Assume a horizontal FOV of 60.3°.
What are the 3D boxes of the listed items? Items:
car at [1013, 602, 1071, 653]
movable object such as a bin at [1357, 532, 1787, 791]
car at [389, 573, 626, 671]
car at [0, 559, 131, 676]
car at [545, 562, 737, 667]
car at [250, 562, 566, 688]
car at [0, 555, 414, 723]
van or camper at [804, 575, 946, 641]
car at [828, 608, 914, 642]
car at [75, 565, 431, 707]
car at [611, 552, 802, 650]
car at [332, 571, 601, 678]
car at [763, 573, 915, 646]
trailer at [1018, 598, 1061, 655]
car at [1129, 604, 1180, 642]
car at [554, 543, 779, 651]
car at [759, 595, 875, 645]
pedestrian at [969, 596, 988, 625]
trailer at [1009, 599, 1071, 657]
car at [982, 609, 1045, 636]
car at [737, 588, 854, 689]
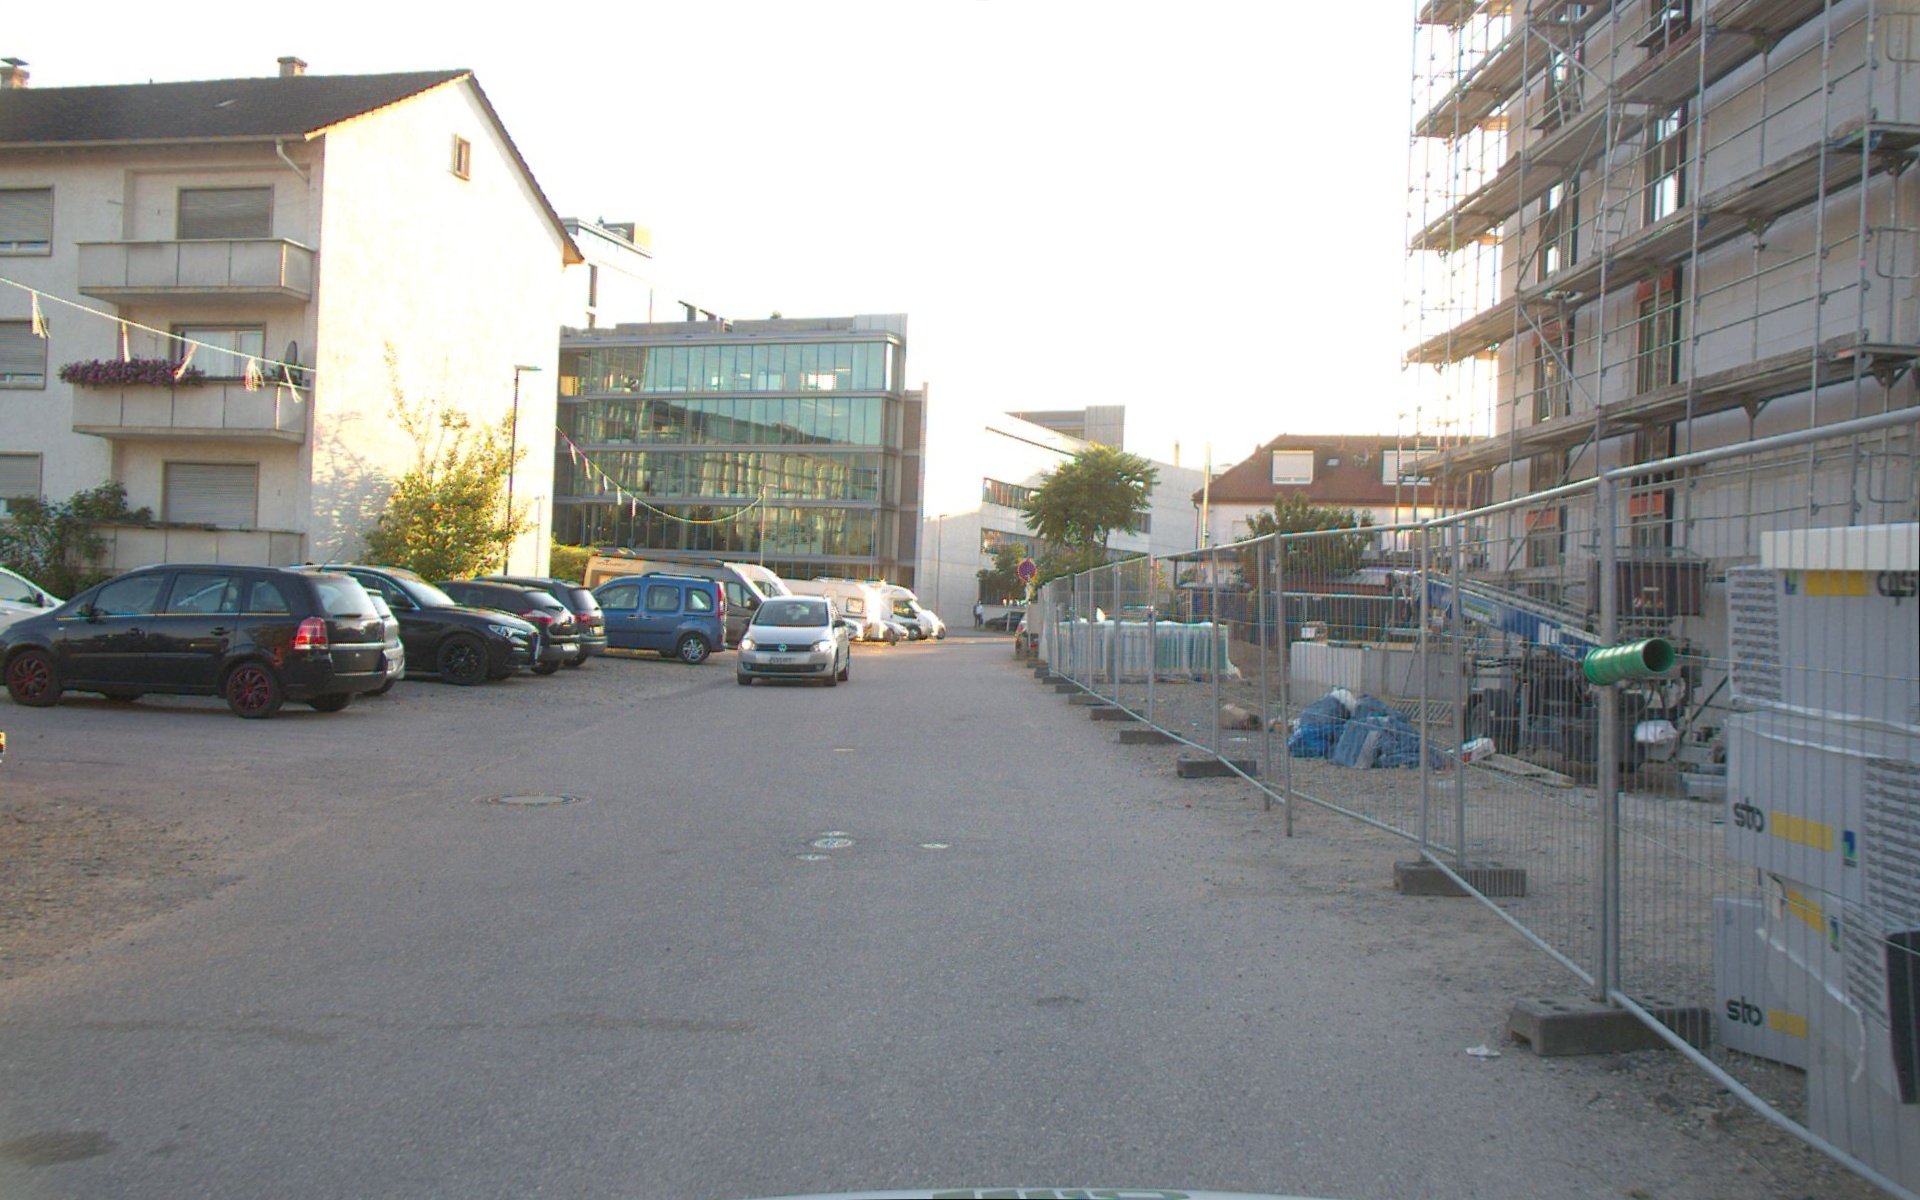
[{"bbox_3d":[3.021,0.980,59.950,1.767,1.755,4.931,0,-1,7],"label":"car"},{"bbox_3d":[6.582,0.580,19.251,2.022,2.313,8.368,1,0,1],"label":"movable object such as a bin"},{"bbox_3d":[-8.343,0.382,30.646,3.842,1.608,1.644,2,0,9],"label":"car"},{"bbox_3d":[-13.536,0.209,22.494,1.804,1.550,4.154,2,-1,11],"label":"car"},{"bbox_3d":[-6.857,0.305,35.877,3.852,1.944,1.745,4,0,-8],"label":"car"},{"bbox_3d":[-8.097,0.343,24.496,4.004,1.656,1.821,2,0,2],"label":"car"},{"bbox_3d":[-8.548,0.422,18.829,3.950,1.648,1.851,2,-1,9],"label":"car"},{"bbox_3d":[-4.239,0.417,83.035,6.597,2.948,2.410,3,-1,11],"label":"van or camper"},{"bbox_3d":[-4.157,1.170,77.671,3.727,1.352,1.694,3,0,8],"label":"car"},{"bbox_3d":[-9.189,0.429,21.631,3.842,1.547,1.810,3,1,9],"label":"car"},{"bbox_3d":[-8.234,0.035,54.026,5.705,2.760,2.051,4,0,3],"label":"car"},{"bbox_3d":[-8.087,0.405,27.252,3.842,1.543,1.644,2,-1,9],"label":"car"},{"bbox_3d":[-5.025,0.413,69.087,5.763,2.578,2.413,4,-2,12],"label":"car"},{"bbox_3d":[2.424,0.801,50.692,1.224,1.694,2.803,0,-1,1],"label":"trailer"},{"bbox_3d":[11.394,1.340,96.751,2.022,2.131,4.874,1,0,18],"label":"car"},{"bbox_3d":[-8.753,-0.062,49.851,6.260,2.760,2.112,4,-2,-2],"label":"car"},{"bbox_3d":[-5.545,0.773,64.223,4.039,1.618,1.749,4,0,14],"label":"car"},{"bbox_3d":[1.243,0.718,110.202,0.892,1.883,0.845,1,0,-37],"label":"pedestrian"},{"bbox_3d":[2.669,0.907,54.210,1.694,1.809,4.940,0,-1,7],"label":"trailer"},{"bbox_3d":[3.470,1.436,106.364,3.656,1.507,1.771,3,1,16],"label":"car"},{"bbox_3d":[-2.921,0.672,30.129,1.636,1.648,4.285,2,-1,0],"label":"car"}]
